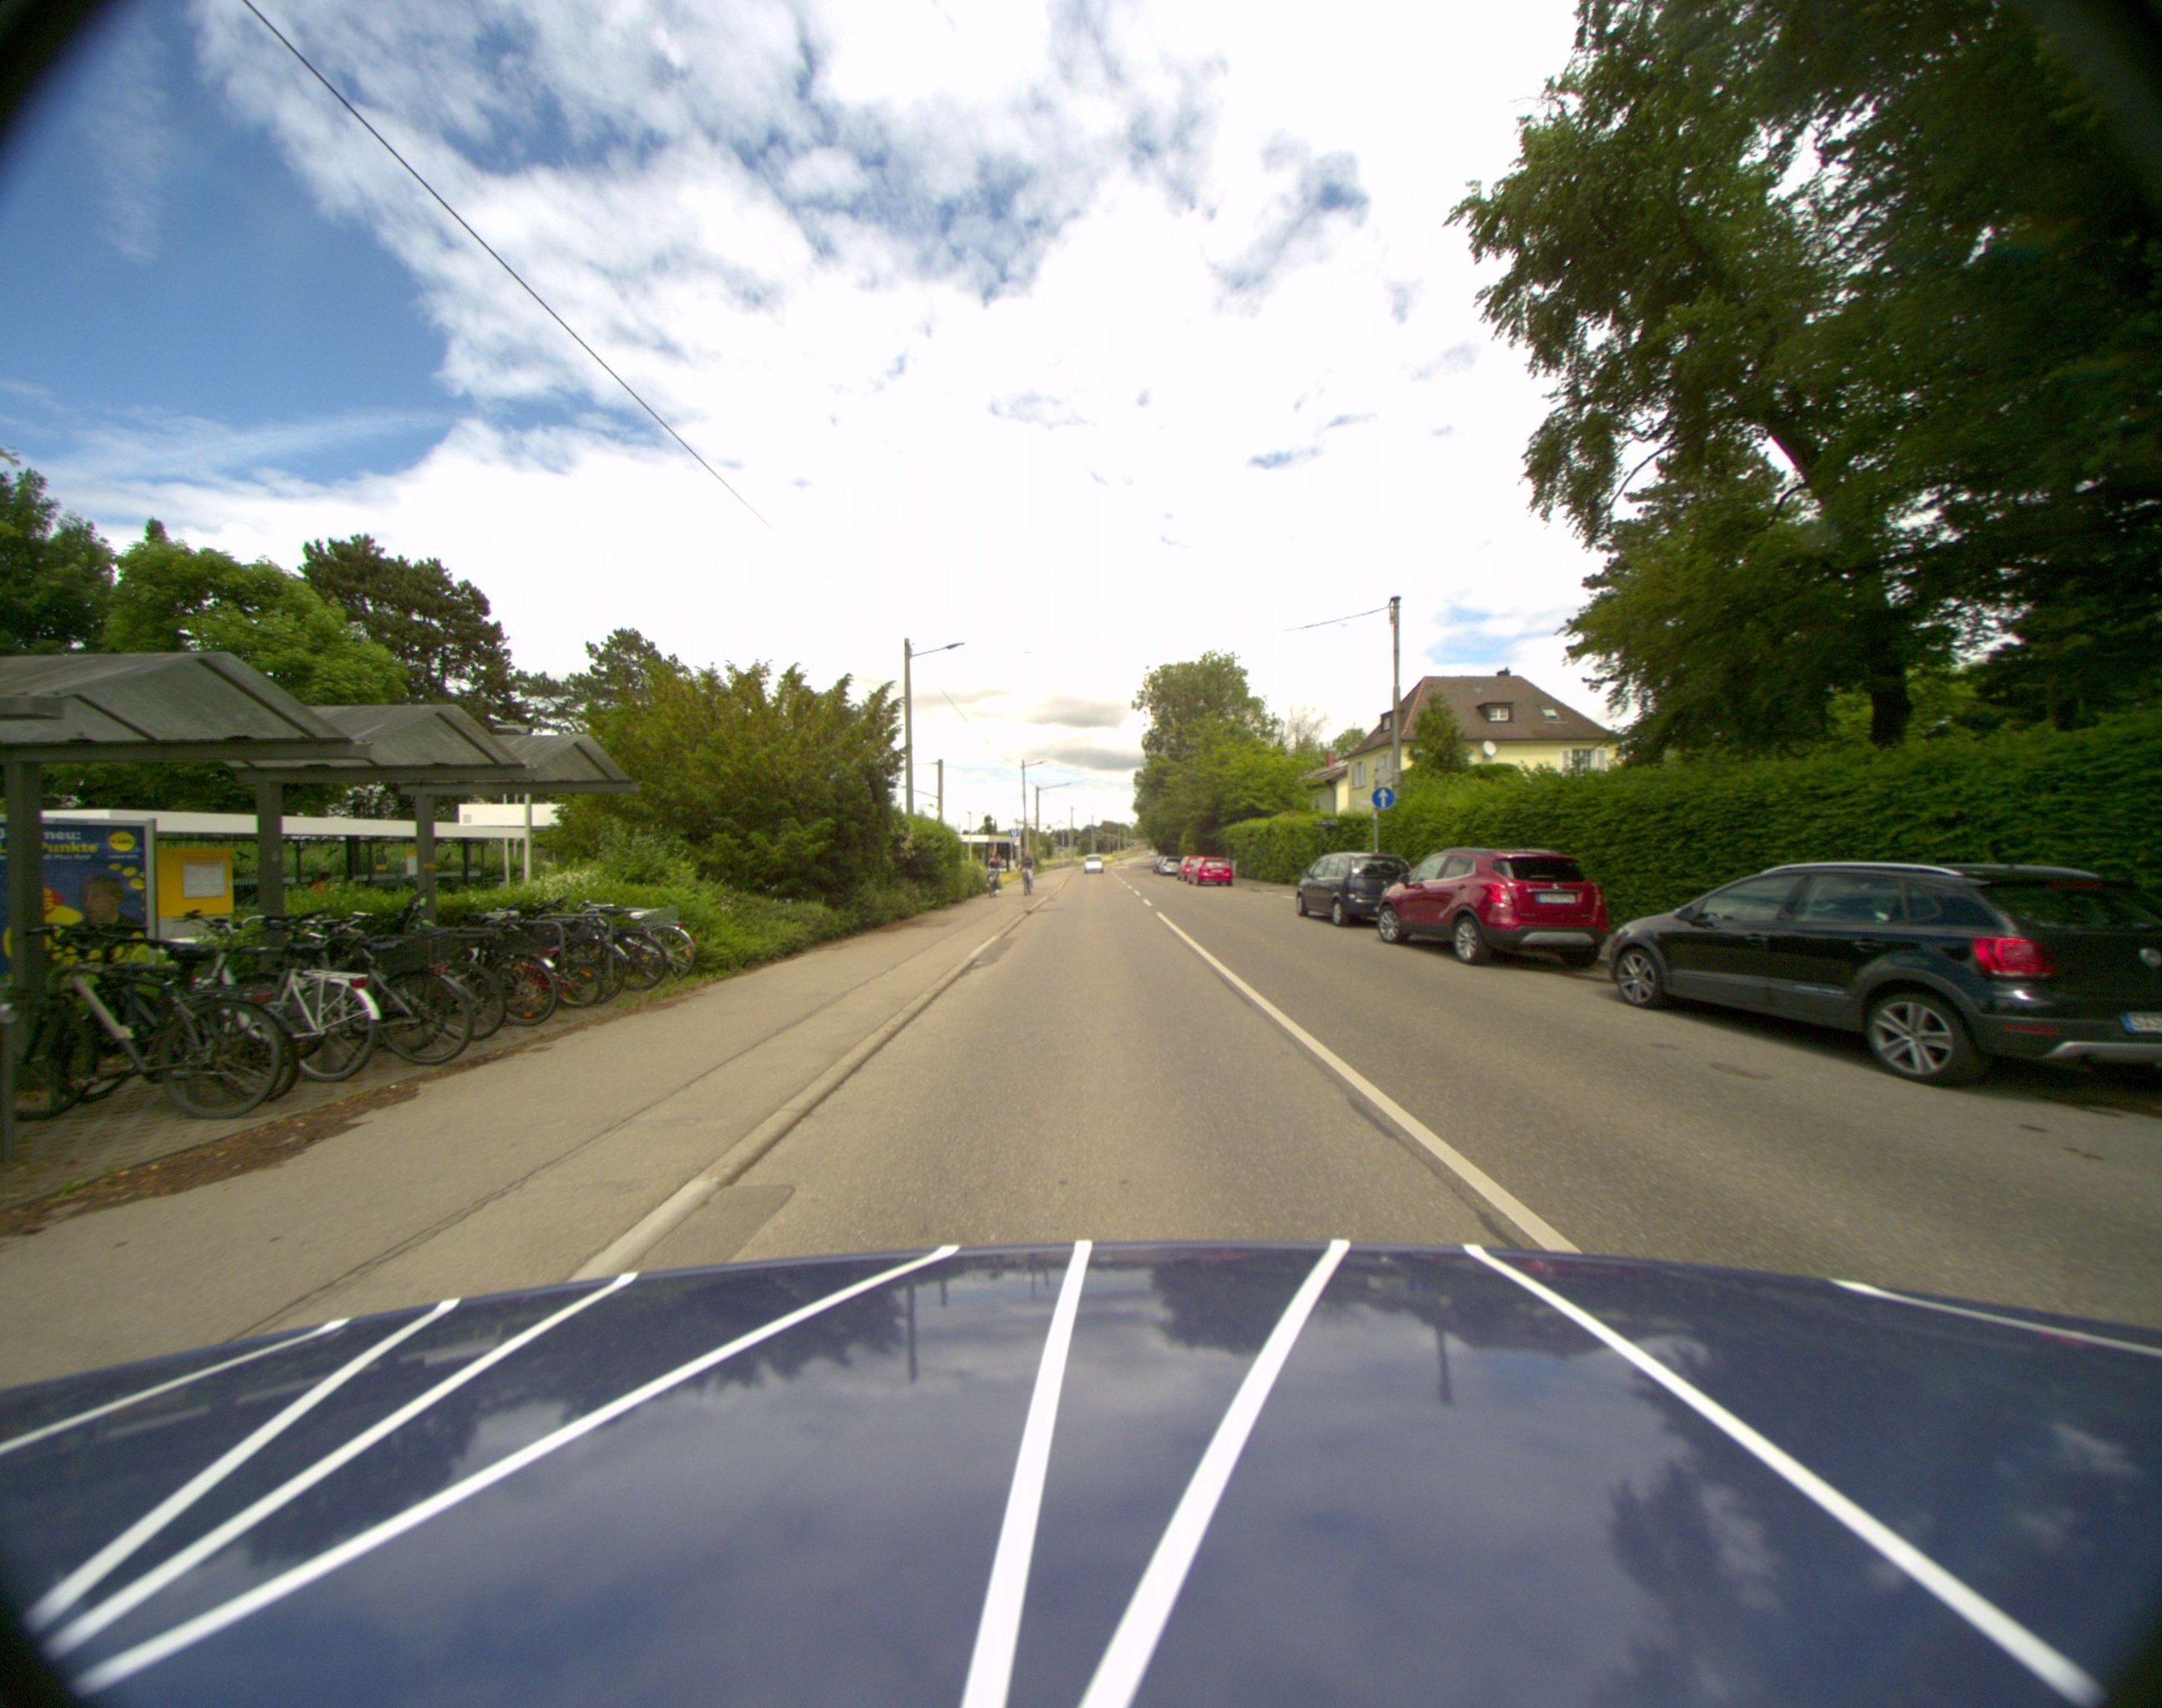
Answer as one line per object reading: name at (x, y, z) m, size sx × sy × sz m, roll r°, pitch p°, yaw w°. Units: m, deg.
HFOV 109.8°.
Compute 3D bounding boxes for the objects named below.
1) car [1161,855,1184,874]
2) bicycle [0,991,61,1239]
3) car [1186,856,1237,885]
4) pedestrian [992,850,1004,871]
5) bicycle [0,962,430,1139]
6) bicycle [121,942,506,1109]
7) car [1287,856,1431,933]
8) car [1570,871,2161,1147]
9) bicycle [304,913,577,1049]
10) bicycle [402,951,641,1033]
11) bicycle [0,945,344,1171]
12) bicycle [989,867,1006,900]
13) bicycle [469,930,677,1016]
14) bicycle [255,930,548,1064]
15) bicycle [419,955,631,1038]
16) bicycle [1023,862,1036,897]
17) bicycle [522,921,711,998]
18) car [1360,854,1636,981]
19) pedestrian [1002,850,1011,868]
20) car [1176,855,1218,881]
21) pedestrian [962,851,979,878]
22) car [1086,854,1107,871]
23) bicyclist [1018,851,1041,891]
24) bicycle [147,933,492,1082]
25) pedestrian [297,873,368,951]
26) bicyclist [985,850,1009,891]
car at (7.003, 0.797, 58.348) m, size 1.676 × 1.363 × 3.607 m, roll 1°, pitch 0°, yaw 5°
bicycle at (-5.822, 1.191, 3.679) m, size 2.090 × 1.041 × 0.451 m, roll 0°, pitch 2°, yaw 20°
car at (6.601, 0.796, 38.921) m, size 1.971 × 1.394 × 4.065 m, roll -1°, pitch 0°, yaw 1°
pedestrian at (-5.973, 0.459, 54.672) m, size 0.720 × 1.412 × 0.643 m, roll -2°, pitch 1°, yaw 4°
bicycle at (-5.630, 1.257, 4.978) m, size 2.207 × 0.932 × 0.451 m, roll -2°, pitch 1°, yaw -3°
bicycle at (-5.456, 1.207, 5.471) m, size 2.206 × 1.041 × 0.451 m, roll -1°, pitch 1°, yaw -2°
car at (6.237, 0.831, 17.609) m, size 1.762 × 1.525 × 4.327 m, roll 0°, pitch 0°, yaw 0°
car at (6.378, 0.932, 6.448) m, size 1.737 × 1.450 × 4.237 m, roll -1°, pitch 0°, yaw 0°
bicycle at (-5.801, 1.138, 6.912) m, size 2.205 × 1.143 × 0.451 m, roll -1°, pitch 1°, yaw 5°
bicycle at (-5.668, 1.392, 7.779) m, size 1.988 × 0.635 × 0.332 m, roll -2°, pitch 1°, yaw -11°
bicycle at (-5.699, 1.169, 4.467) m, size 2.094 × 1.144 × 0.530 m, roll -1°, pitch 1°, yaw -3°
bicycle at (-3.183, 1.115, 29.100) m, size 0.451 × 1.143 × 2.207 m, roll -1°, pitch 1°, yaw -1°
bicycle at (-5.701, 1.329, 8.581) m, size 1.994 × 0.821 × 0.451 m, roll -2°, pitch 1°, yaw 0°
bicycle at (-5.777, 1.198, 6.487) m, size 2.205 × 1.041 × 0.451 m, roll -1°, pitch 1°, yaw 5°
bicycle at (-5.452, 1.387, 7.511) m, size 1.683 × 0.635 × 0.332 m, roll -2°, pitch 1°, yaw -11°
bicycle at (-2.058, 1.002, 30.278) m, size 0.451 × 1.278 × 2.206 m, roll -2°, pitch 1°, yaw -5°
bicycle at (-5.654, 1.281, 9.281) m, size 2.081 × 0.821 × 0.451 m, roll -2°, pitch 1°, yaw 5°
car at (6.192, 0.820, 11.993) m, size 1.795 × 1.601 × 4.415 m, roll -1°, pitch 0°, yaw -2°
pedestrian at (-5.549, 0.363, 56.590) m, size 0.588 × 1.272 × 0.582 m, roll -2°, pitch 1°, yaw 4°
car at (6.904, 0.794, 45.631) m, size 1.853 × 1.442 × 3.748 m, roll -1°, pitch 0°, yaw -1°
pedestrian at (-6.751, 0.633, 46.422) m, size 0.730 × 1.608 × 0.704 m, roll -3°, pitch 1°, yaw -33°
car at (1.292, 0.732, 65.960) m, size 1.666 × 1.394 × 3.899 m, roll -1°, pitch 0°, yaw -1°
bicyclist at (-2.051, 0.666, 30.166) m, size 0.826 × 1.530 × 0.861 m, roll -2°, pitch 1°, yaw -3°
bicycle at (-6.020, 1.211, 6.066) m, size 2.206 × 1.041 × 0.451 m, roll 2°, pitch 1°, yaw -2°
pedestrian at (-20.112, 1.534, 20.444) m, size 0.918 × 2.002 × 0.917 m, roll -2°, pitch 1°, yaw 10°
bicyclist at (-3.227, 0.622, 29.203) m, size 0.826 × 1.529 × 0.861 m, roll -1°, pitch 1°, yaw -1°
